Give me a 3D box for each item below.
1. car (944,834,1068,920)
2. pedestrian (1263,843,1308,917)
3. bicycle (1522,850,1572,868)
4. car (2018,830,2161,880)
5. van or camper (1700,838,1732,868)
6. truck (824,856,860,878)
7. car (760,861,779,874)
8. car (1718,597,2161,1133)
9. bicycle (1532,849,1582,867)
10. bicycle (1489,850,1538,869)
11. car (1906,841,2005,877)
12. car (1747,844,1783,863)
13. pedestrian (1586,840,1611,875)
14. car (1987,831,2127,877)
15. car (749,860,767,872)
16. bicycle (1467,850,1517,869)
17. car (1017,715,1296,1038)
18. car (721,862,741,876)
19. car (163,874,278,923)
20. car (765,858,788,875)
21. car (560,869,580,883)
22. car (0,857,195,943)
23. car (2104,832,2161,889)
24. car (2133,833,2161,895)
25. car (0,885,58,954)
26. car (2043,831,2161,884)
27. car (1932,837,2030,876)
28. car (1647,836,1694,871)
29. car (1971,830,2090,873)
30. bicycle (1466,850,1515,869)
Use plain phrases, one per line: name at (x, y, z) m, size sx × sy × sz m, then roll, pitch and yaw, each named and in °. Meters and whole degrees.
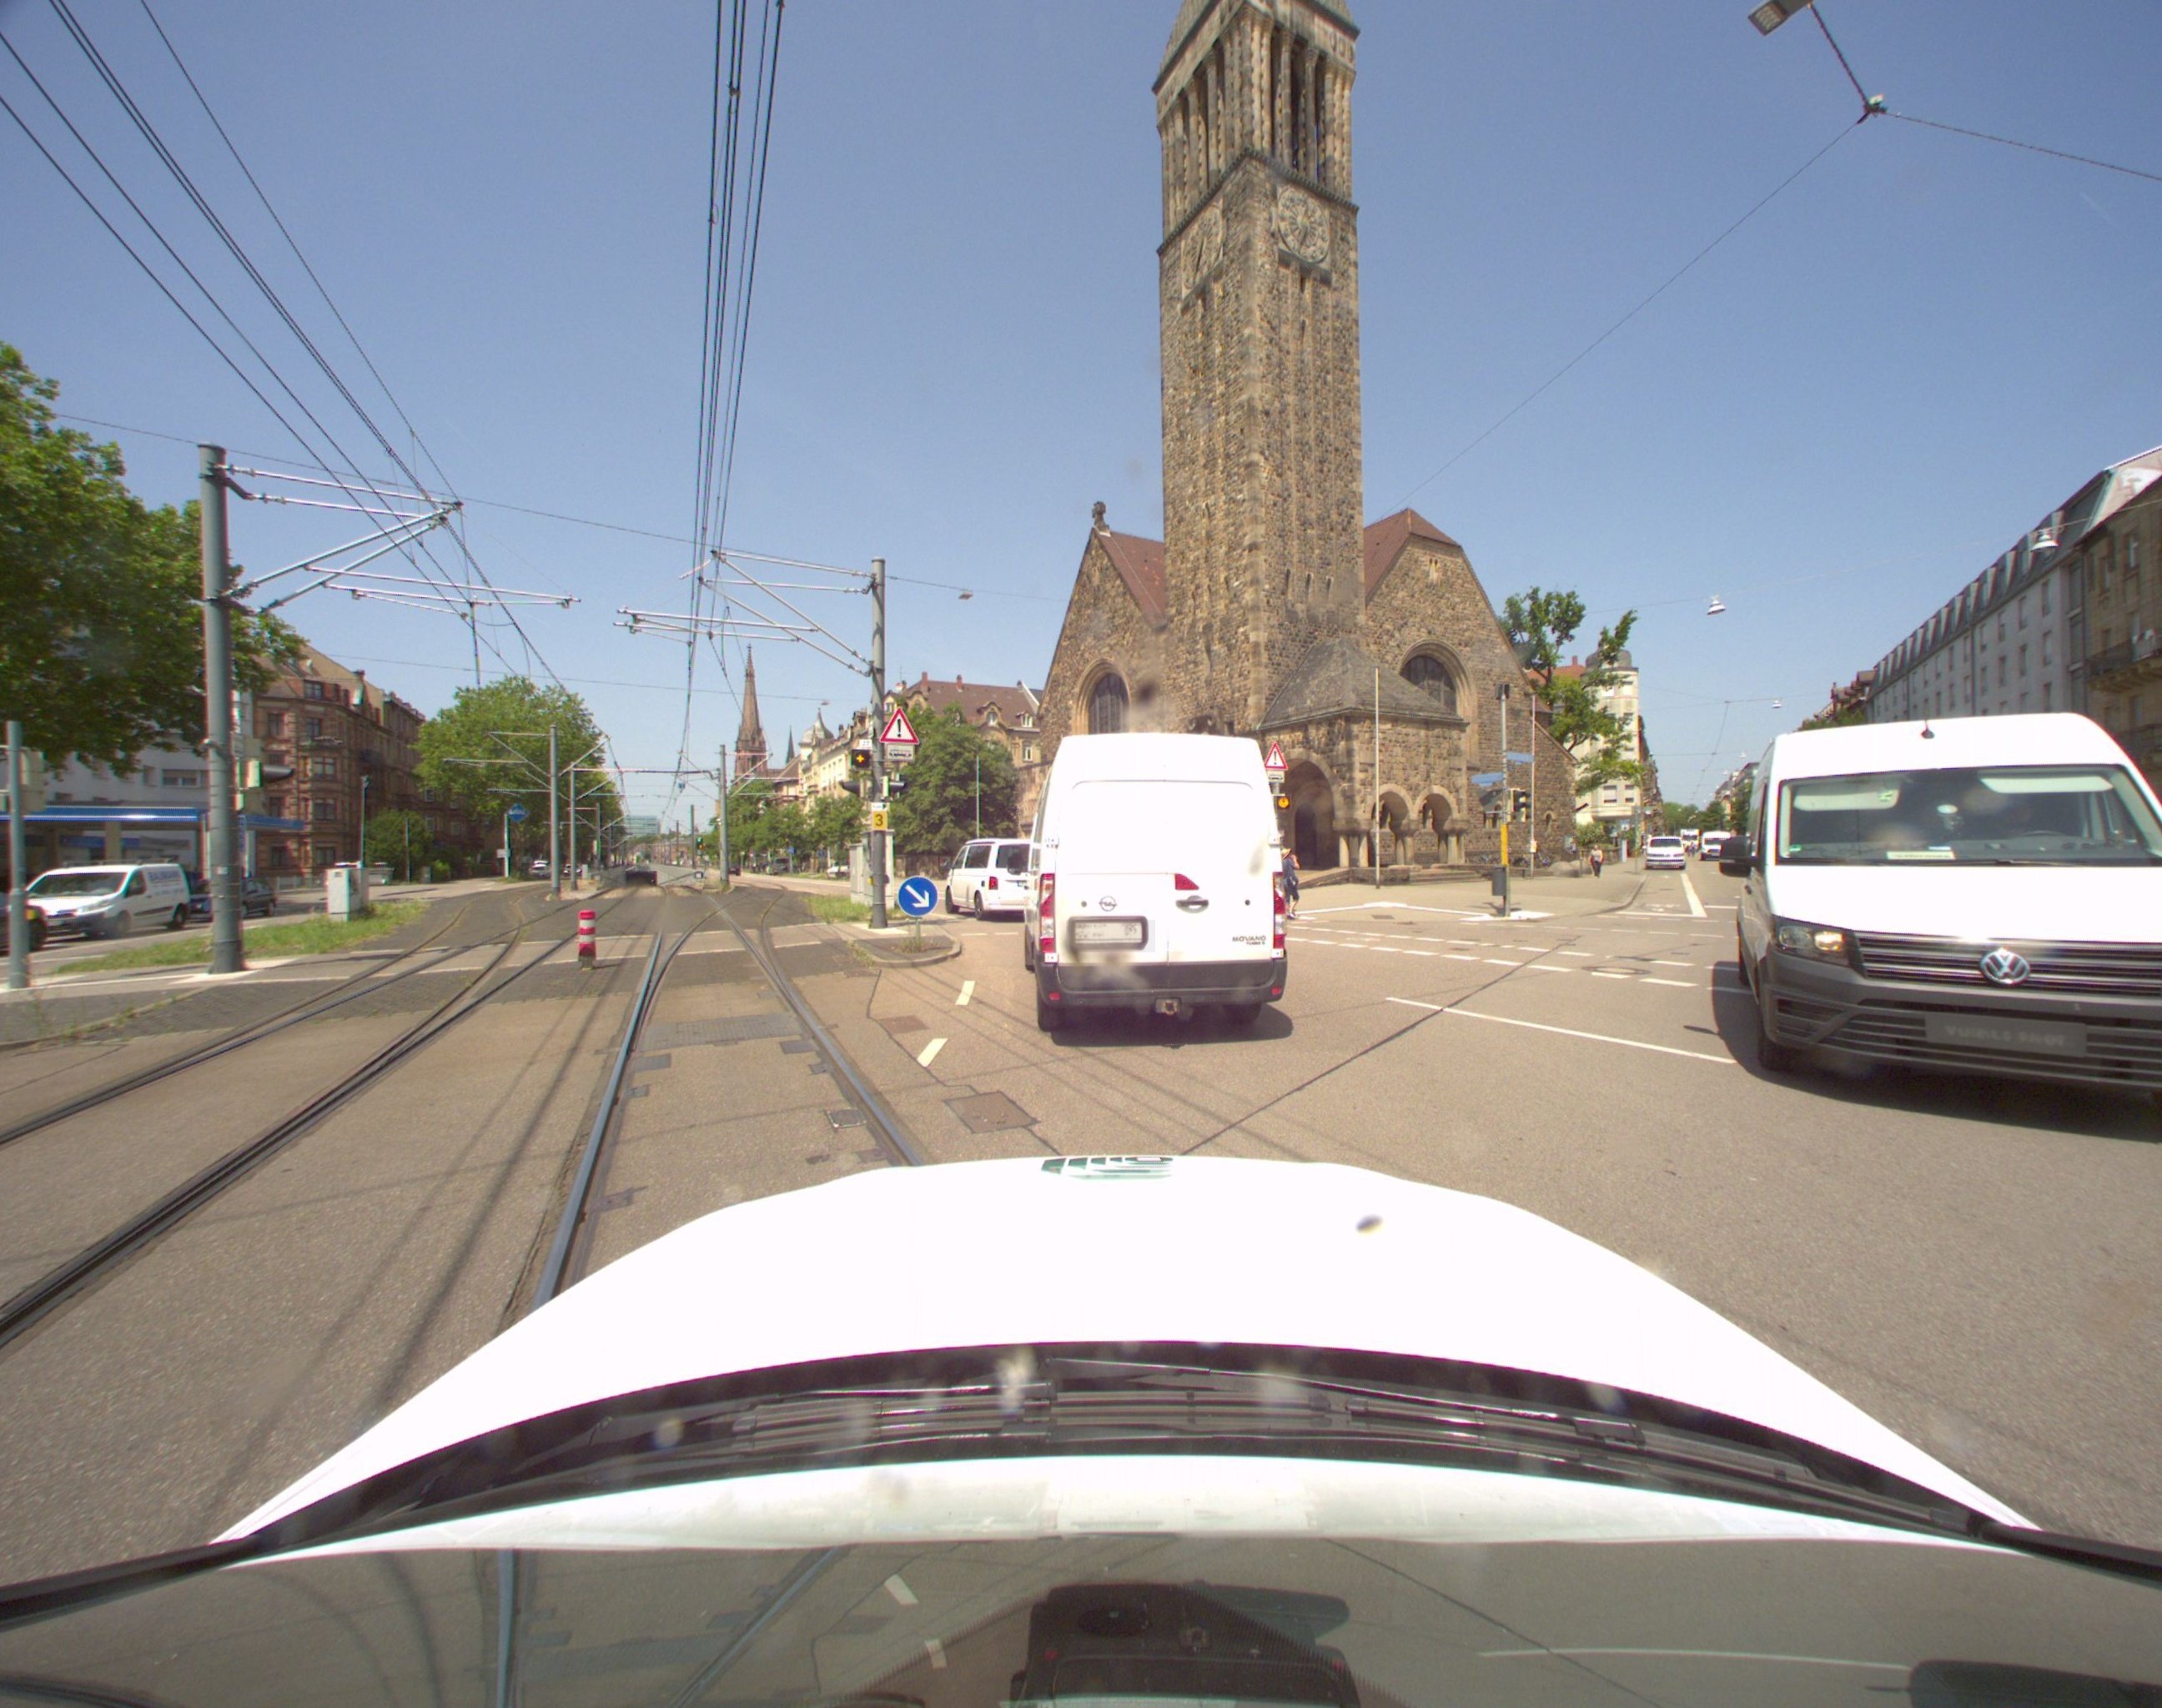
car at (-2.017, 0.527, 20.697) m, size 1.925 × 1.944 × 4.230 m, roll 0°, pitch 0°, yaw -24°
pedestrian at (5.125, 0.639, 20.471) m, size 0.745 × 1.822 × 0.827 m, roll 0°, pitch -1°, yaw -21°
bicycle at (26.604, 0.267, 46.519) m, size 0.708 × 1.011 × 2.477 m, roll -1°, pitch 0°, yaw -27°
car at (34.918, 0.053, 28.085) m, size 3.204 × 1.575 × 1.617 m, roll -2°, pitch -2°, yaw 1°
van or camper at (54.109, -0.116, 69.458) m, size 2.047 × 2.461 × 5.940 m, roll -1°, pitch 0°, yaw 38°
truck at (-18.923, 1.070, 64.354) m, size 1.800 × 1.526 × 4.423 m, roll -4°, pitch 1°, yaw -29°
car at (-39.915, 1.731, 104.363) m, size 1.760 × 1.578 × 3.723 m, roll 0°, pitch 0°, yaw -29°
car at (6.886, 0.007, 7.015) m, size 2.050 × 2.637 × 6.676 m, roll -1°, pitch 0°, yaw 37°
bicycle at (27.471, 0.245, 47.051) m, size 0.708 × 1.011 × 2.477 m, roll -1°, pitch 0°, yaw -27°
bicycle at (24.362, 0.319, 45.876) m, size 0.708 × 1.011 × 2.477 m, roll -1°, pitch 0°, yaw -27°
car at (41.375, 0.242, 38.570) m, size 3.215 × 1.575 × 1.611 m, roll -2°, pitch -2°, yaw -9°
car at (65.439, -0.088, 77.963) m, size 1.935 × 1.750 × 4.025 m, roll -1°, pitch 0°, yaw 30°
pedestrian at (23.909, 0.159, 37.624) m, size 0.795 × 1.559 × 0.713 m, roll 0°, pitch -1°, yaw -35°
car at (36.650, 0.016, 30.648) m, size 3.204 × 1.575 × 1.617 m, roll -2°, pitch -2°, yaw 1°
car at (-43.061, 1.600, 108.598) m, size 1.760 × 1.578 × 3.723 m, roll 0°, pitch 0°, yaw -29°
bicycle at (22.091, 0.299, 43.802) m, size 0.708 × 1.011 × 2.477 m, roll -1°, pitch 0°, yaw -27°
car at (0.404, 0.179, 8.829) m, size 2.114 × 2.459 × 5.044 m, roll 0°, pitch 0°, yaw -5°
car at (-39.724, 1.655, 92.453) m, size 1.760 × 1.539 × 3.723 m, roll 0°, pitch 0°, yaw -29°
car at (-29.535, 1.484, 28.099) m, size 1.606 × 1.420 × 3.746 m, roll -3°, pitch 1°, yaw -29°
car at (-32.757, 1.325, 87.537) m, size 1.760 × 1.706 × 3.723 m, roll 0°, pitch 0°, yaw -29°
car at (-67.060, 2.894, 106.904) m, size 1.858 × 1.625 × 4.561 m, roll -2°, pitch 0°, yaw -28°
car at (-25.961, 1.094, 21.692) m, size 1.788 × 1.991 × 4.759 m, roll -1°, pitch 0°, yaw -30°
car at (31.588, 0.151, 23.089) m, size 3.209 × 1.575 × 1.615 m, roll -2°, pitch -2°, yaw -3°
car at (29.402, 0.192, 20.725) m, size 3.209 × 1.575 × 1.615 m, roll -2°, pitch -2°, yaw -3°
car at (-22.989, 1.402, 16.041) m, size 1.959 × 1.359 × 4.584 m, roll -1°, pitch 0°, yaw -30°
car at (33.101, 0.101, 25.803) m, size 3.204 × 1.575 × 1.617 m, roll -2°, pitch -2°, yaw 1°
car at (39.885, 0.133, 36.104) m, size 3.220 × 1.575 × 1.489 m, roll -2°, pitch -2°, yaw -14°
car at (35.286, -0.036, 48.681) m, size 2.019 × 2.004 × 5.000 m, roll -1°, pitch 0°, yaw 39°
car at (38.785, -0.079, 33.302) m, size 3.213 × 1.575 × 1.612 m, roll -2°, pitch -2°, yaw -8°
bicycle at (22.716, 0.293, 45.221) m, size 0.708 × 1.011 × 2.477 m, roll -1°, pitch 0°, yaw -27°
